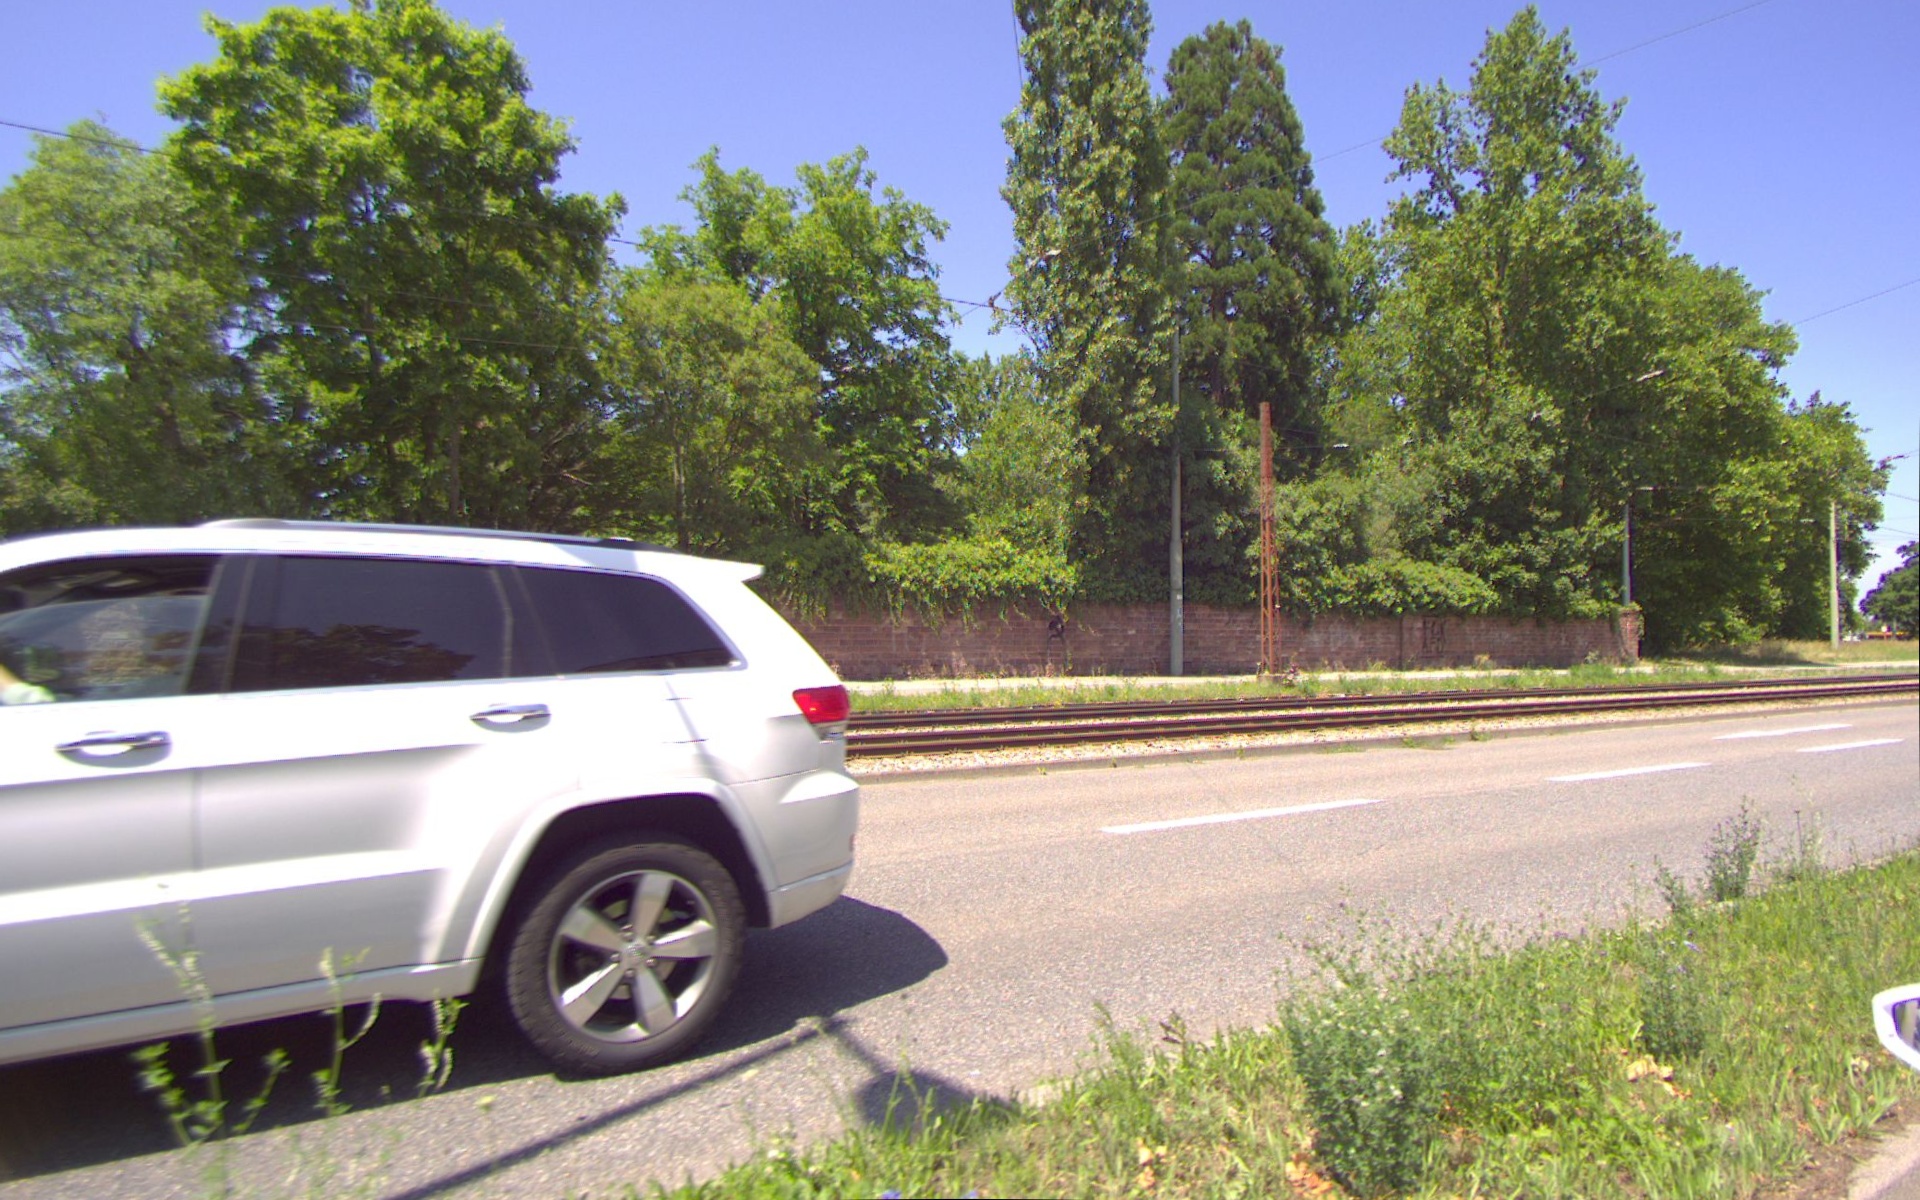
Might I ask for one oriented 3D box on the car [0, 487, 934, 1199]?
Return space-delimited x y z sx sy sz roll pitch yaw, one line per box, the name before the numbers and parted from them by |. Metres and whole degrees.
car | -2.513 0.643 3.469 4.533 1.771 1.891 1 -2 -30
